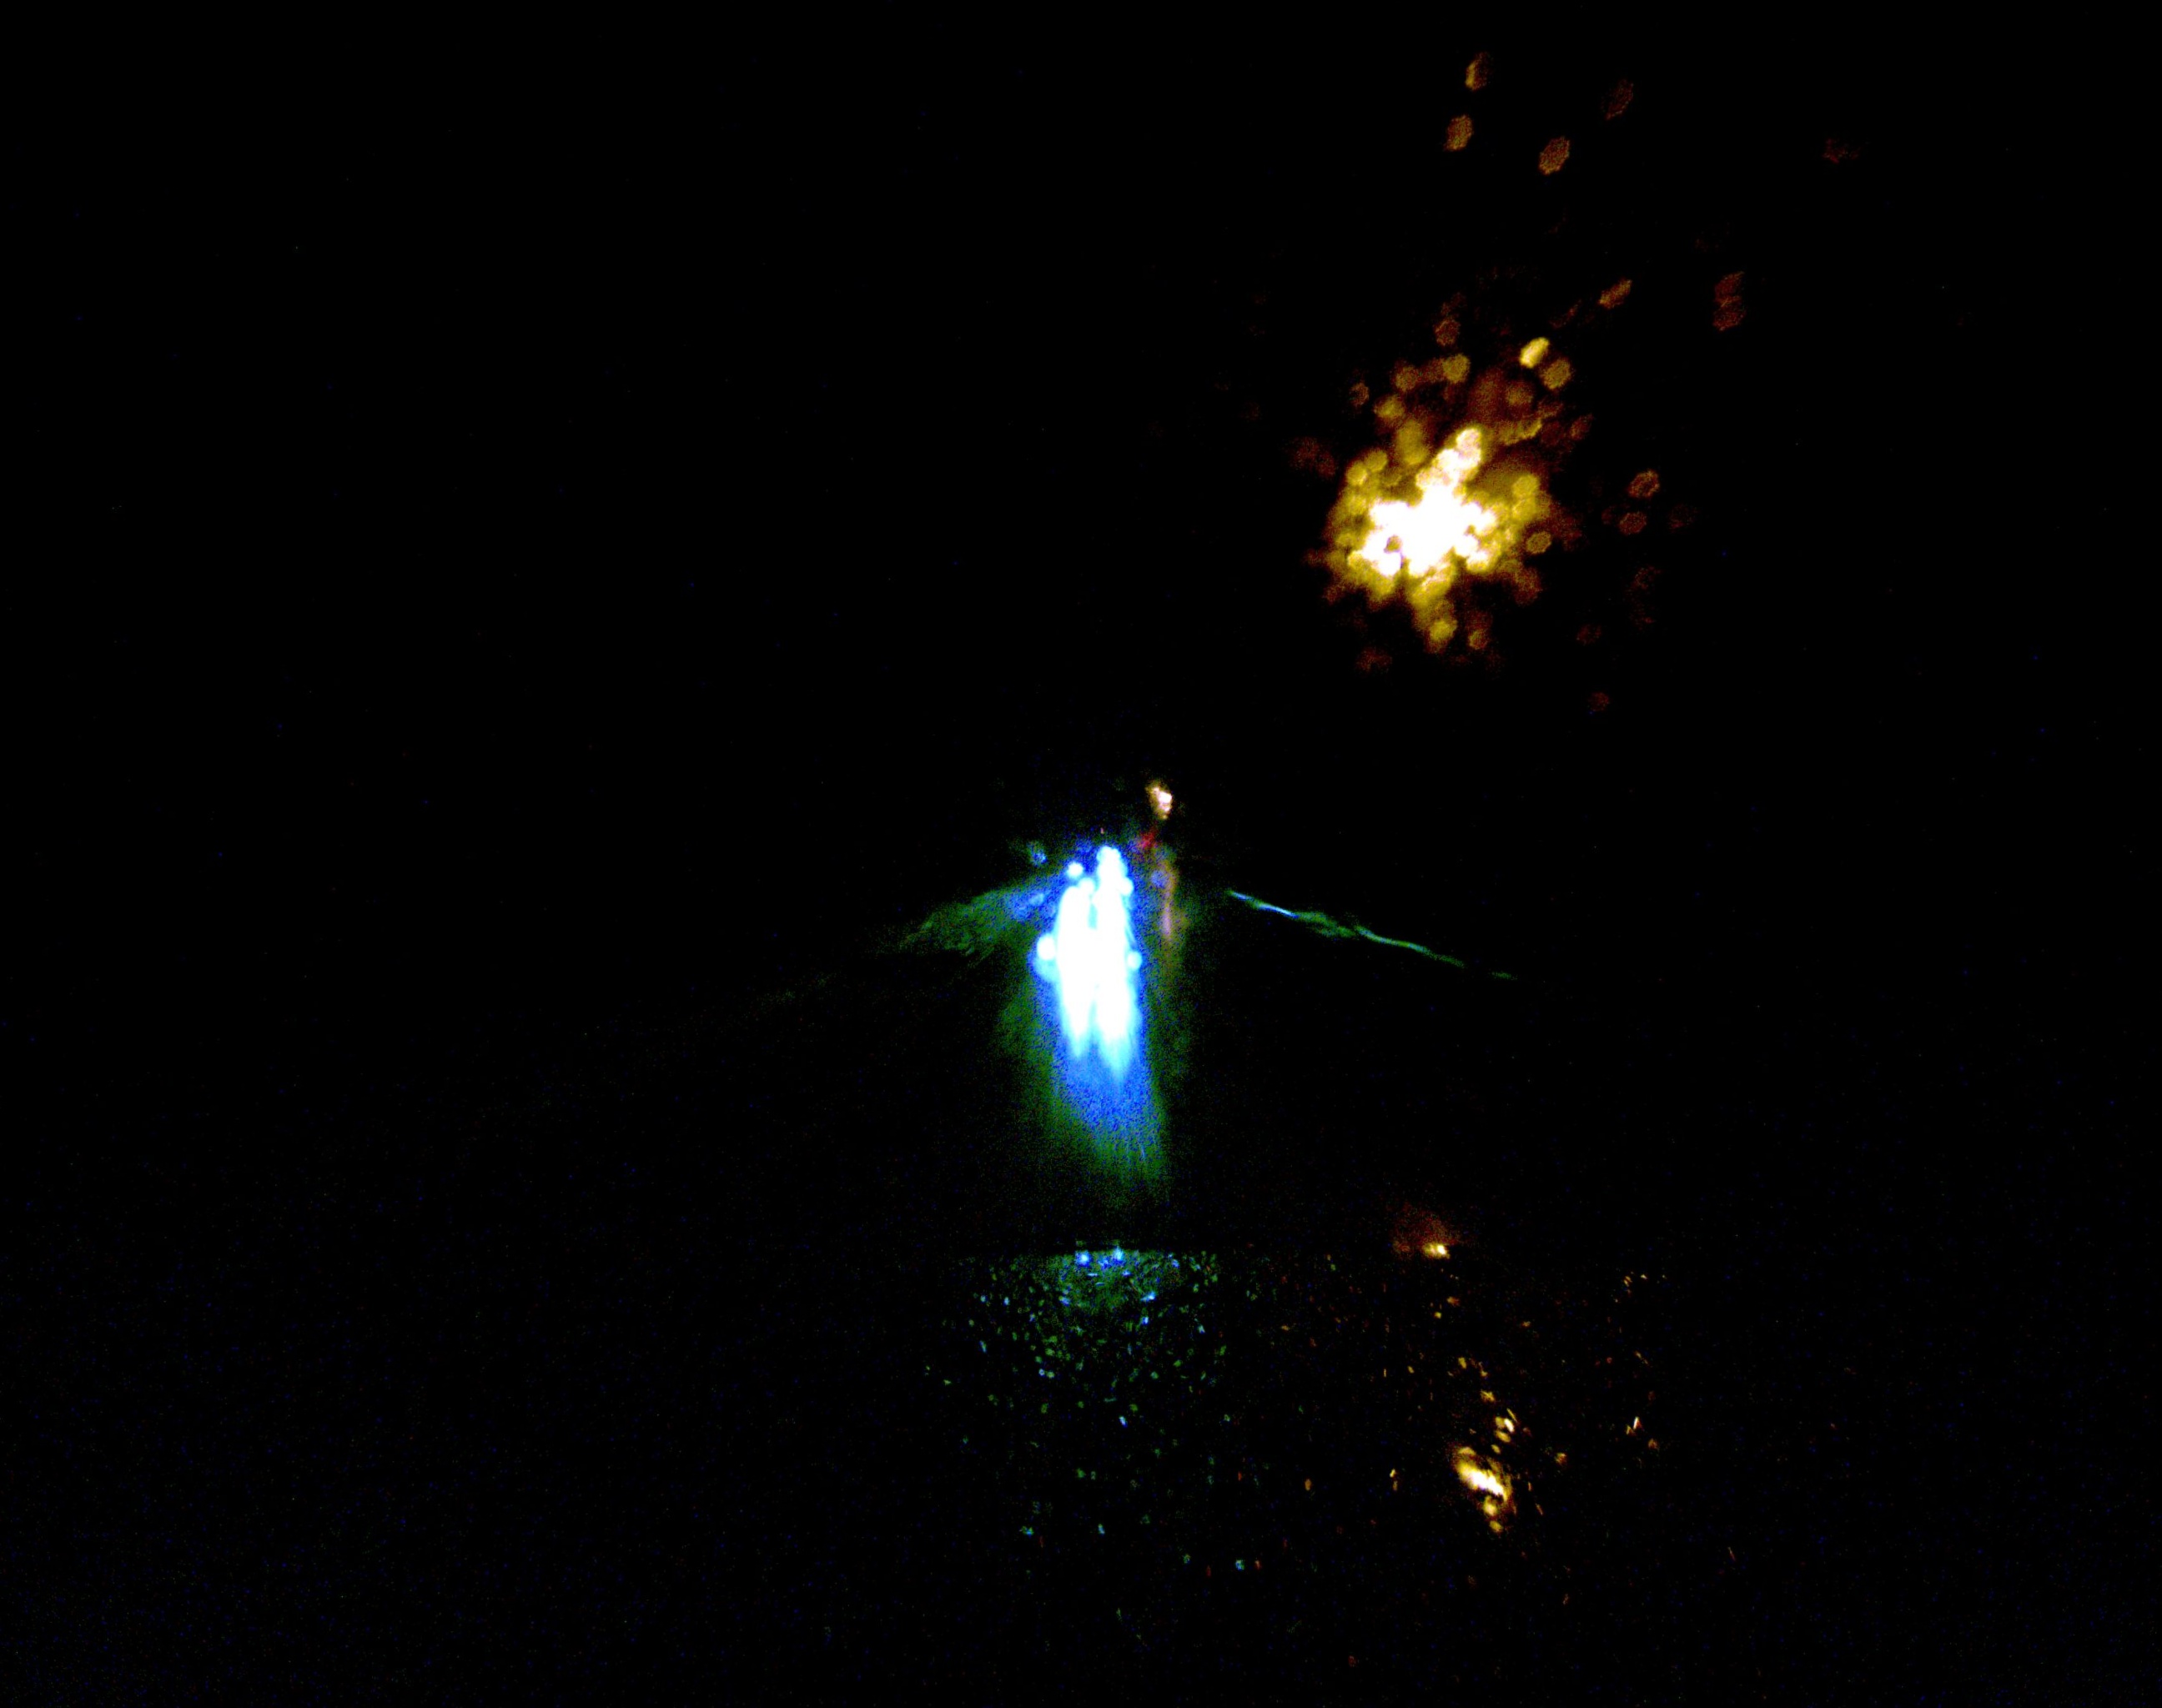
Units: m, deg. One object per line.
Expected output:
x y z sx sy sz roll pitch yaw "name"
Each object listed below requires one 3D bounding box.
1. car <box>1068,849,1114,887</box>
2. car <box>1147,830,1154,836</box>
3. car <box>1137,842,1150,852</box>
0.543 0.636 35.612 1.944 1.580 4.777 -3 -1 3 "car"
18.218 -5.464 199.392 1.805 1.484 3.867 -2 3 5 "car"
9.980 -1.166 121.942 1.919 1.467 4.203 -3 2 4 "car"
